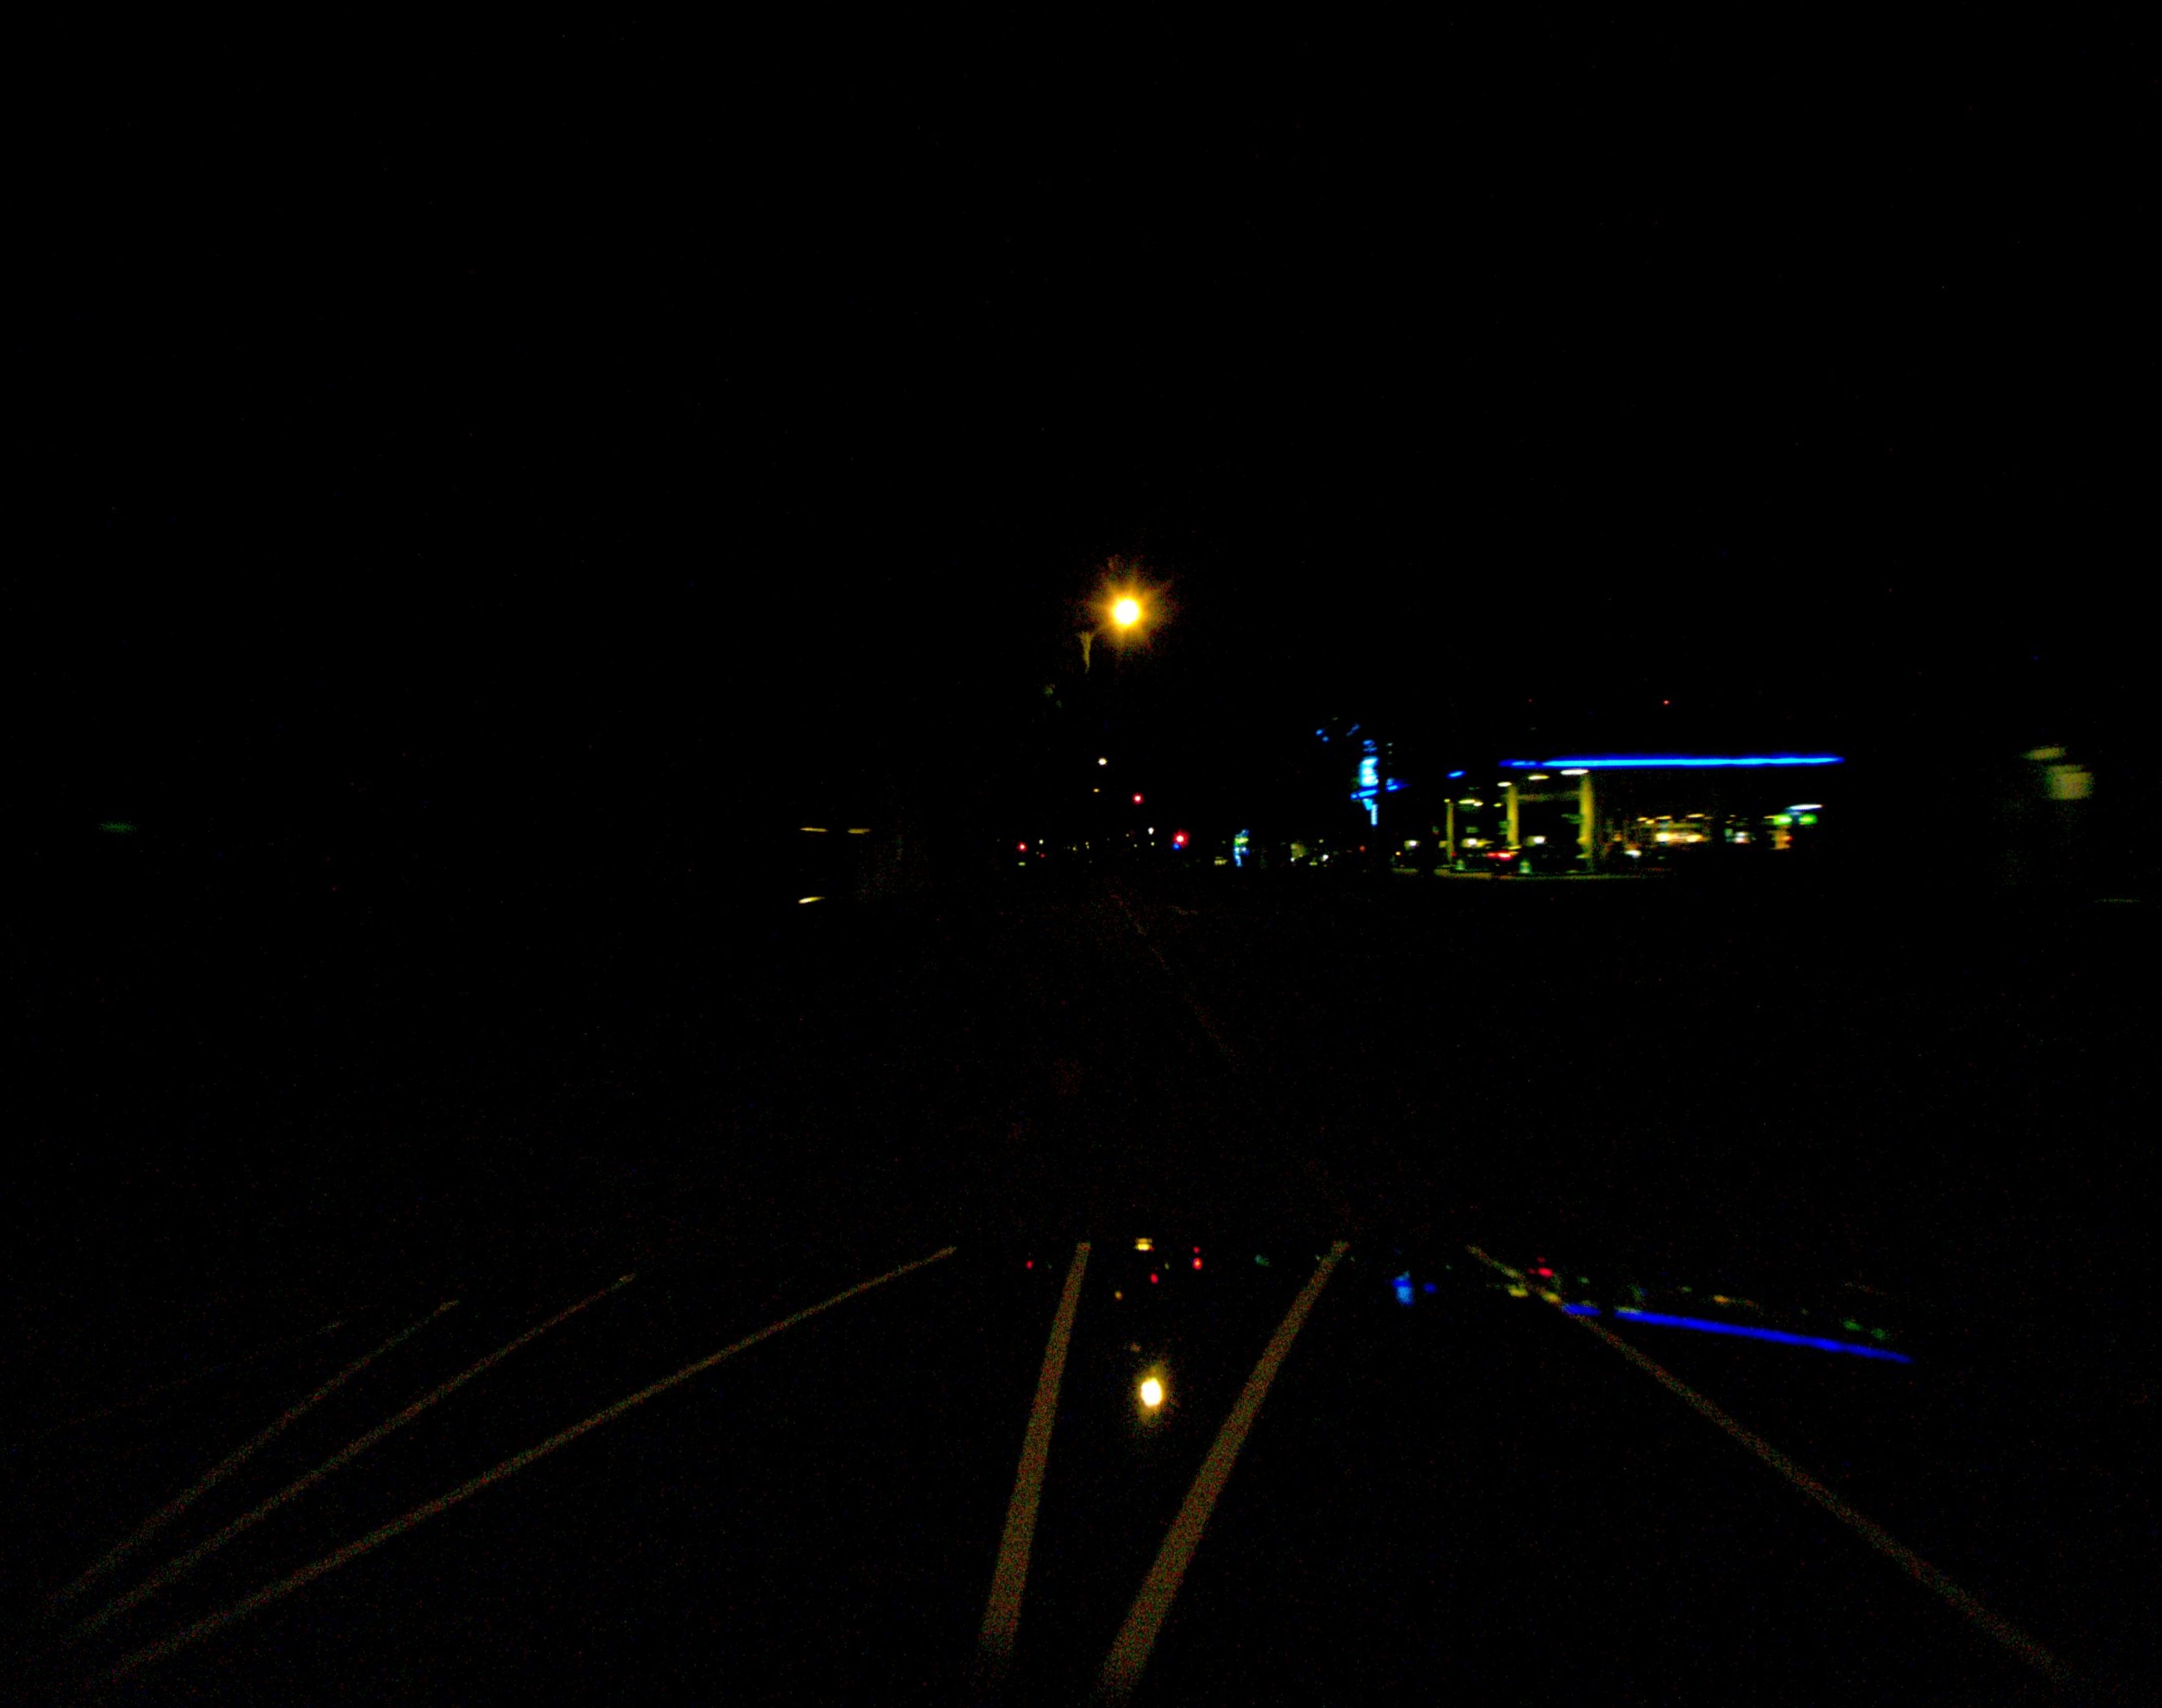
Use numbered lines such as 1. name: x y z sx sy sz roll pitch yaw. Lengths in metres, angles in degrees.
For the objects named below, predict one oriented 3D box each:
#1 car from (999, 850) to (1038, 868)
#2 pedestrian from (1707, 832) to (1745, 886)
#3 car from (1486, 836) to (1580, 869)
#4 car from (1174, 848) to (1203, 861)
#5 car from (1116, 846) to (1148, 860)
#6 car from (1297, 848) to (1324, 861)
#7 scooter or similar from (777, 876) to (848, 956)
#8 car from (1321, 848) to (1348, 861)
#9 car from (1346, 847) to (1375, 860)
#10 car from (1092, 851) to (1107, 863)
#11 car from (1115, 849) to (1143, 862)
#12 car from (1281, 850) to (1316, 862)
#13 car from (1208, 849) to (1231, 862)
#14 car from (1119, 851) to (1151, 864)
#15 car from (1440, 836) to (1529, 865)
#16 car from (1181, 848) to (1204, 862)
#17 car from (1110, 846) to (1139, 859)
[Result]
1. car: -6.737 0.567 82.099 4.082 1.848 1.853 -1 1 0
2. pedestrian: 19.520 0.155 22.996 0.577 1.596 0.643 -1 1 -1
3. car: 23.124 -0.085 38.950 3.759 1.524 1.670 -2 0 0
4. car: 14.170 0.054 100.330 3.575 1.689 1.634 0 1 0
5. car: 6.719 -0.129 99.924 4.055 1.879 1.634 0 1 -3
6. car: 26.860 0.047 89.059 1.864 1.469 4.353 -1 0 0
7. scooter or similar: -4.729 1.051 13.500 0.548 1.196 1.910 2 2 1
8. car: 29.579 0.057 88.809 1.732 1.469 4.086 -1 0 0
9. car: 32.805 -0.071 89.282 1.864 1.469 4.086 -1 0 0
10. car: 2.629 0.349 107.797 1.936 1.646 3.833 -1 0 0
11. car: 6.217 0.185 98.877 3.576 1.619 1.620 0 1 -3
12. car: 28.180 0.292 98.372 4.280 1.469 1.730 -1 0 -27
13. car: 16.260 0.164 89.356 1.864 1.452 4.070 -1 0 0
14. car: 6.626 0.370 93.640 3.763 1.577 1.634 0 1 -3
15. car: 24.441 -0.191 46.173 4.357 1.717 1.979 0 0 0
16. car: 13.091 0.135 89.456 1.999 1.548 4.386 -1 0 -1
17. car: 5.878 -0.166 102.532 3.848 1.781 1.634 0 1 -3
